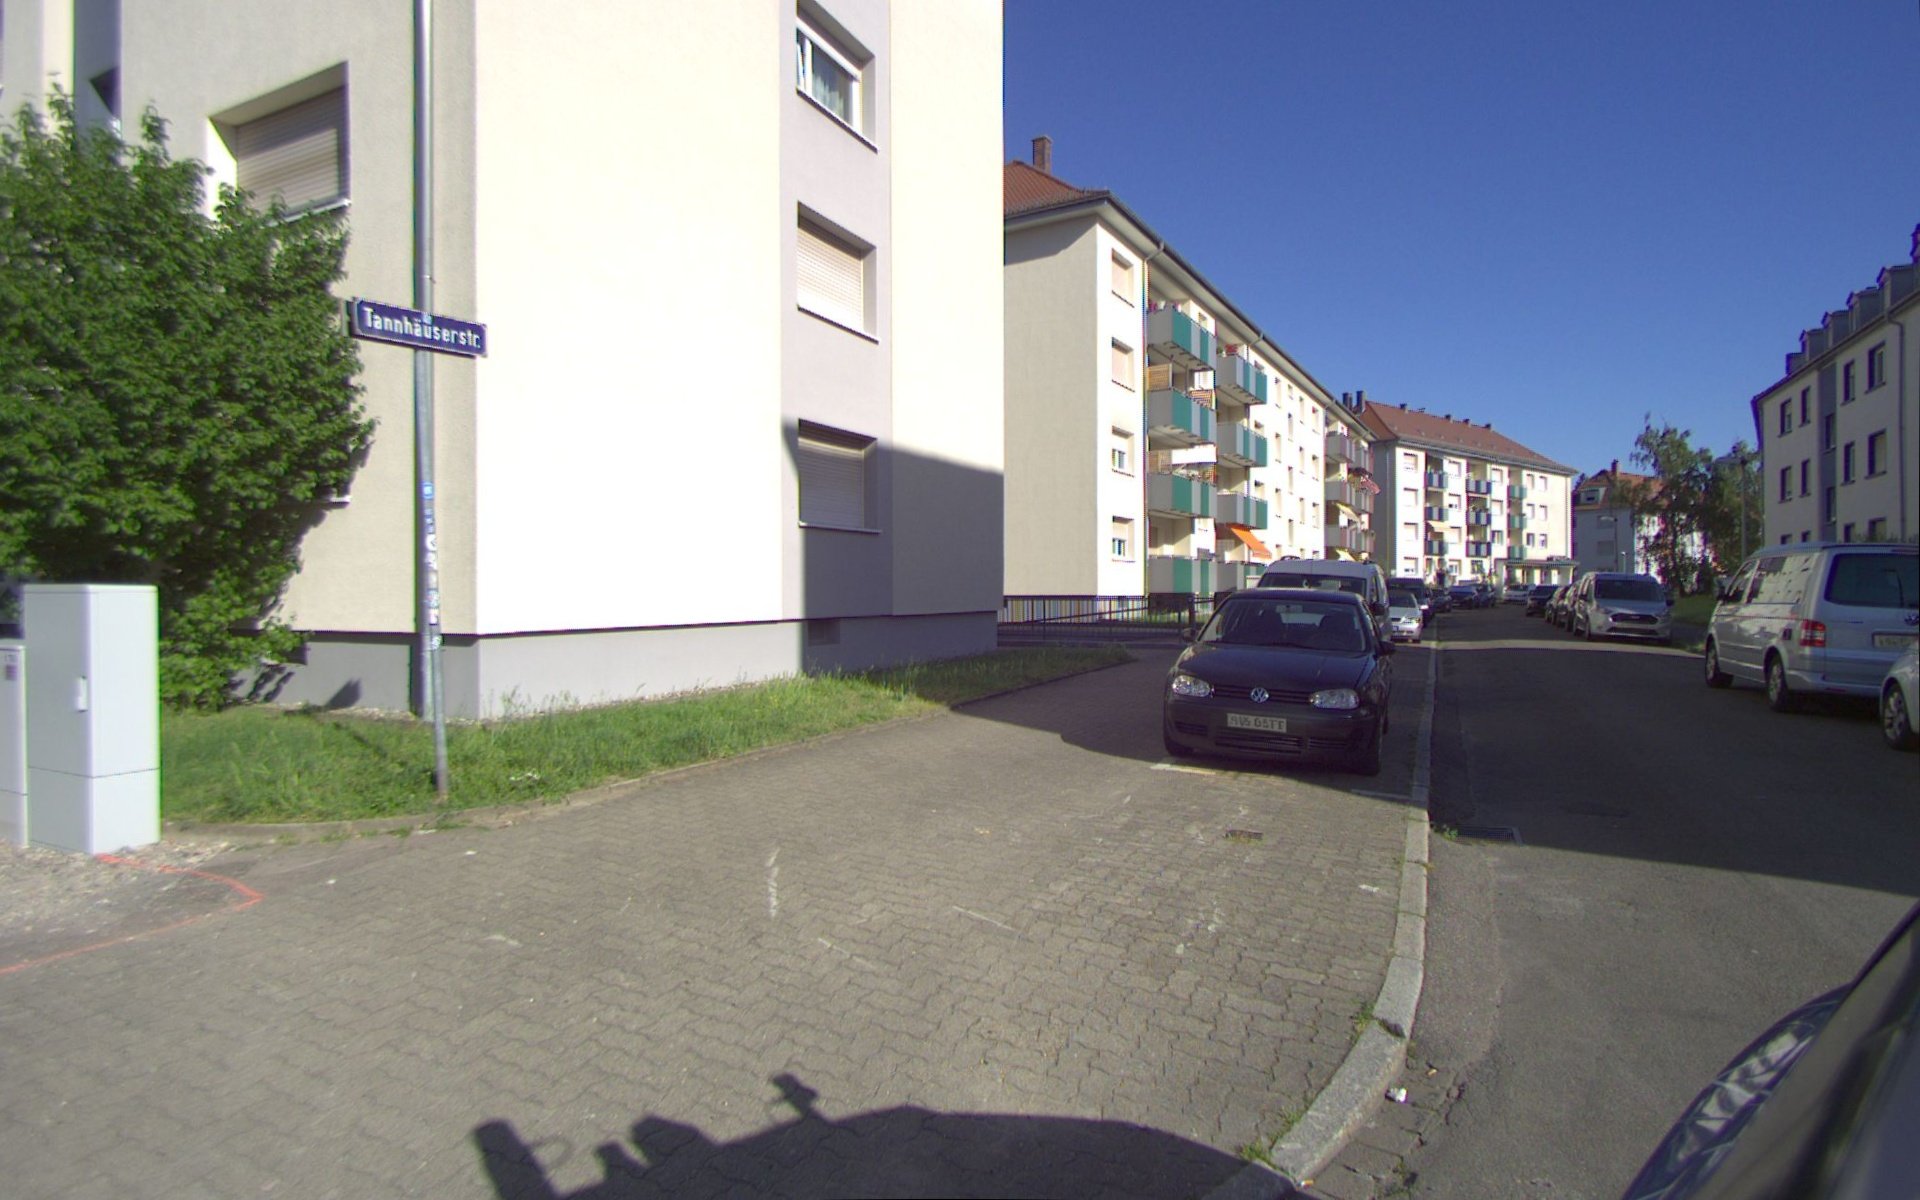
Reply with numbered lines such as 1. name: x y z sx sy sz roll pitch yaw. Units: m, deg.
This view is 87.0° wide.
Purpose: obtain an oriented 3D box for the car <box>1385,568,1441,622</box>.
1. car: 17.229 -0.241 38.384 1.747 1.862 4.876 1 2 26

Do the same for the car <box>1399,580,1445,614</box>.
1. car: 21.486 -0.186 47.009 1.654 1.467 3.822 2 2 28

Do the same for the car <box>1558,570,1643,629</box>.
1. car: 19.924 -0.072 31.619 1.662 1.610 4.128 4 3 25

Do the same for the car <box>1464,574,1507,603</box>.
1. car: 35.048 -0.758 67.468 1.748 1.757 3.945 -5 -2 38

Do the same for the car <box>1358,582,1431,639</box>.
1. car: 12.308 0.222 28.601 1.729 1.424 4.278 1 2 24

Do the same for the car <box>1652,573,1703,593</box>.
1. car: 58.238 -1.396 82.138 3.895 1.443 1.580 1 2 -23

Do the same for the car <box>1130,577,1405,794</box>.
1. car: 2.983 0.540 9.188 1.785 1.432 4.014 3 2 25

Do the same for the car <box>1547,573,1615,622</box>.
1. car: 21.795 -0.128 35.612 1.633 1.537 3.669 3 3 26

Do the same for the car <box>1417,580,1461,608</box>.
1. car: 25.960 -0.347 54.765 1.667 1.437 3.815 2 2 33

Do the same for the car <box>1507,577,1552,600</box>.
1. car: 43.249 -0.899 76.803 4.332 1.654 1.755 -1 2 -44

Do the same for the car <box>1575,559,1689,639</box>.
1. car: 17.439 -0.091 26.492 1.788 1.852 4.904 3 2 26

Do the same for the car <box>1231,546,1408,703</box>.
1. car: 5.361 0.230 14.701 1.787 1.868 4.496 3 2 27

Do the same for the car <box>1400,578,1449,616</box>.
1. car: 19.680 -0.161 42.832 1.630 1.477 3.822 2 2 28

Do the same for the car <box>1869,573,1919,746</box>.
1. car: 8.680 0.542 7.697 1.676 1.477 3.687 2 2 27

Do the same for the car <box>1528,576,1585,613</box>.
1. car: 26.575 -0.300 45.178 1.889 1.476 4.354 3 3 28

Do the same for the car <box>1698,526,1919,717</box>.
1. car: 10.902 0.178 12.506 1.937 1.957 4.814 2 2 25

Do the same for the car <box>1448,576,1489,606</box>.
1. car: 31.869 -0.586 63.397 1.574 1.784 4.182 2 2 37
